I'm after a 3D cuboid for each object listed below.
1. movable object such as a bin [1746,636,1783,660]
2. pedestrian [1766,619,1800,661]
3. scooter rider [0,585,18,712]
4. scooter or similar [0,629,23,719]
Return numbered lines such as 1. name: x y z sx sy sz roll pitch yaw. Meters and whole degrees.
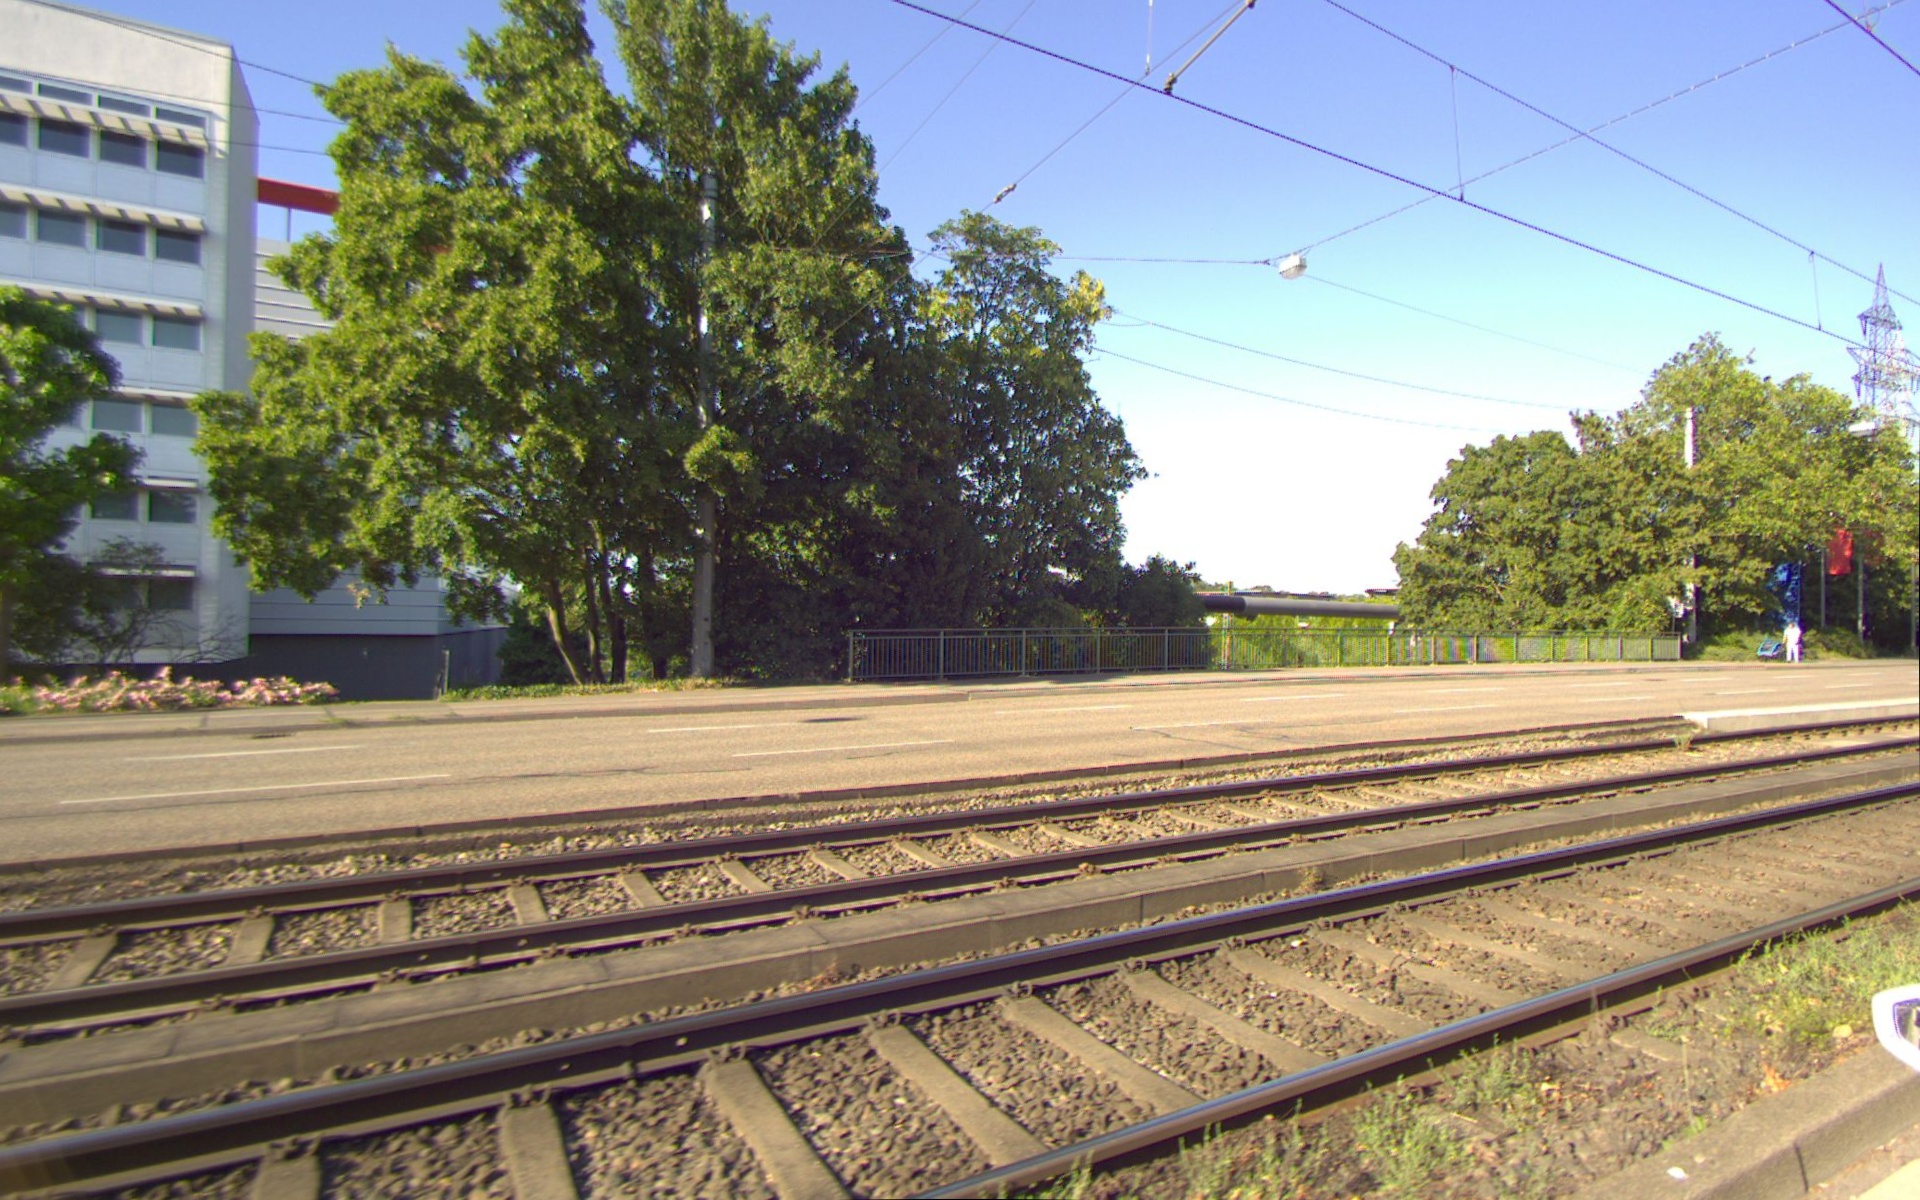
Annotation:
1. movable object such as a bin: 35.821 2.139 44.716 1.081 0.974 0.725 3 1 -9
2. pedestrian: 36.770 1.784 44.864 0.820 1.780 0.725 3 1 -9
3. scooter rider: -14.652 0.714 14.741 0.986 1.873 0.681 1 -1 -23
4. scooter or similar: -14.670 1.083 14.725 1.244 1.313 0.470 1 -1 -24
